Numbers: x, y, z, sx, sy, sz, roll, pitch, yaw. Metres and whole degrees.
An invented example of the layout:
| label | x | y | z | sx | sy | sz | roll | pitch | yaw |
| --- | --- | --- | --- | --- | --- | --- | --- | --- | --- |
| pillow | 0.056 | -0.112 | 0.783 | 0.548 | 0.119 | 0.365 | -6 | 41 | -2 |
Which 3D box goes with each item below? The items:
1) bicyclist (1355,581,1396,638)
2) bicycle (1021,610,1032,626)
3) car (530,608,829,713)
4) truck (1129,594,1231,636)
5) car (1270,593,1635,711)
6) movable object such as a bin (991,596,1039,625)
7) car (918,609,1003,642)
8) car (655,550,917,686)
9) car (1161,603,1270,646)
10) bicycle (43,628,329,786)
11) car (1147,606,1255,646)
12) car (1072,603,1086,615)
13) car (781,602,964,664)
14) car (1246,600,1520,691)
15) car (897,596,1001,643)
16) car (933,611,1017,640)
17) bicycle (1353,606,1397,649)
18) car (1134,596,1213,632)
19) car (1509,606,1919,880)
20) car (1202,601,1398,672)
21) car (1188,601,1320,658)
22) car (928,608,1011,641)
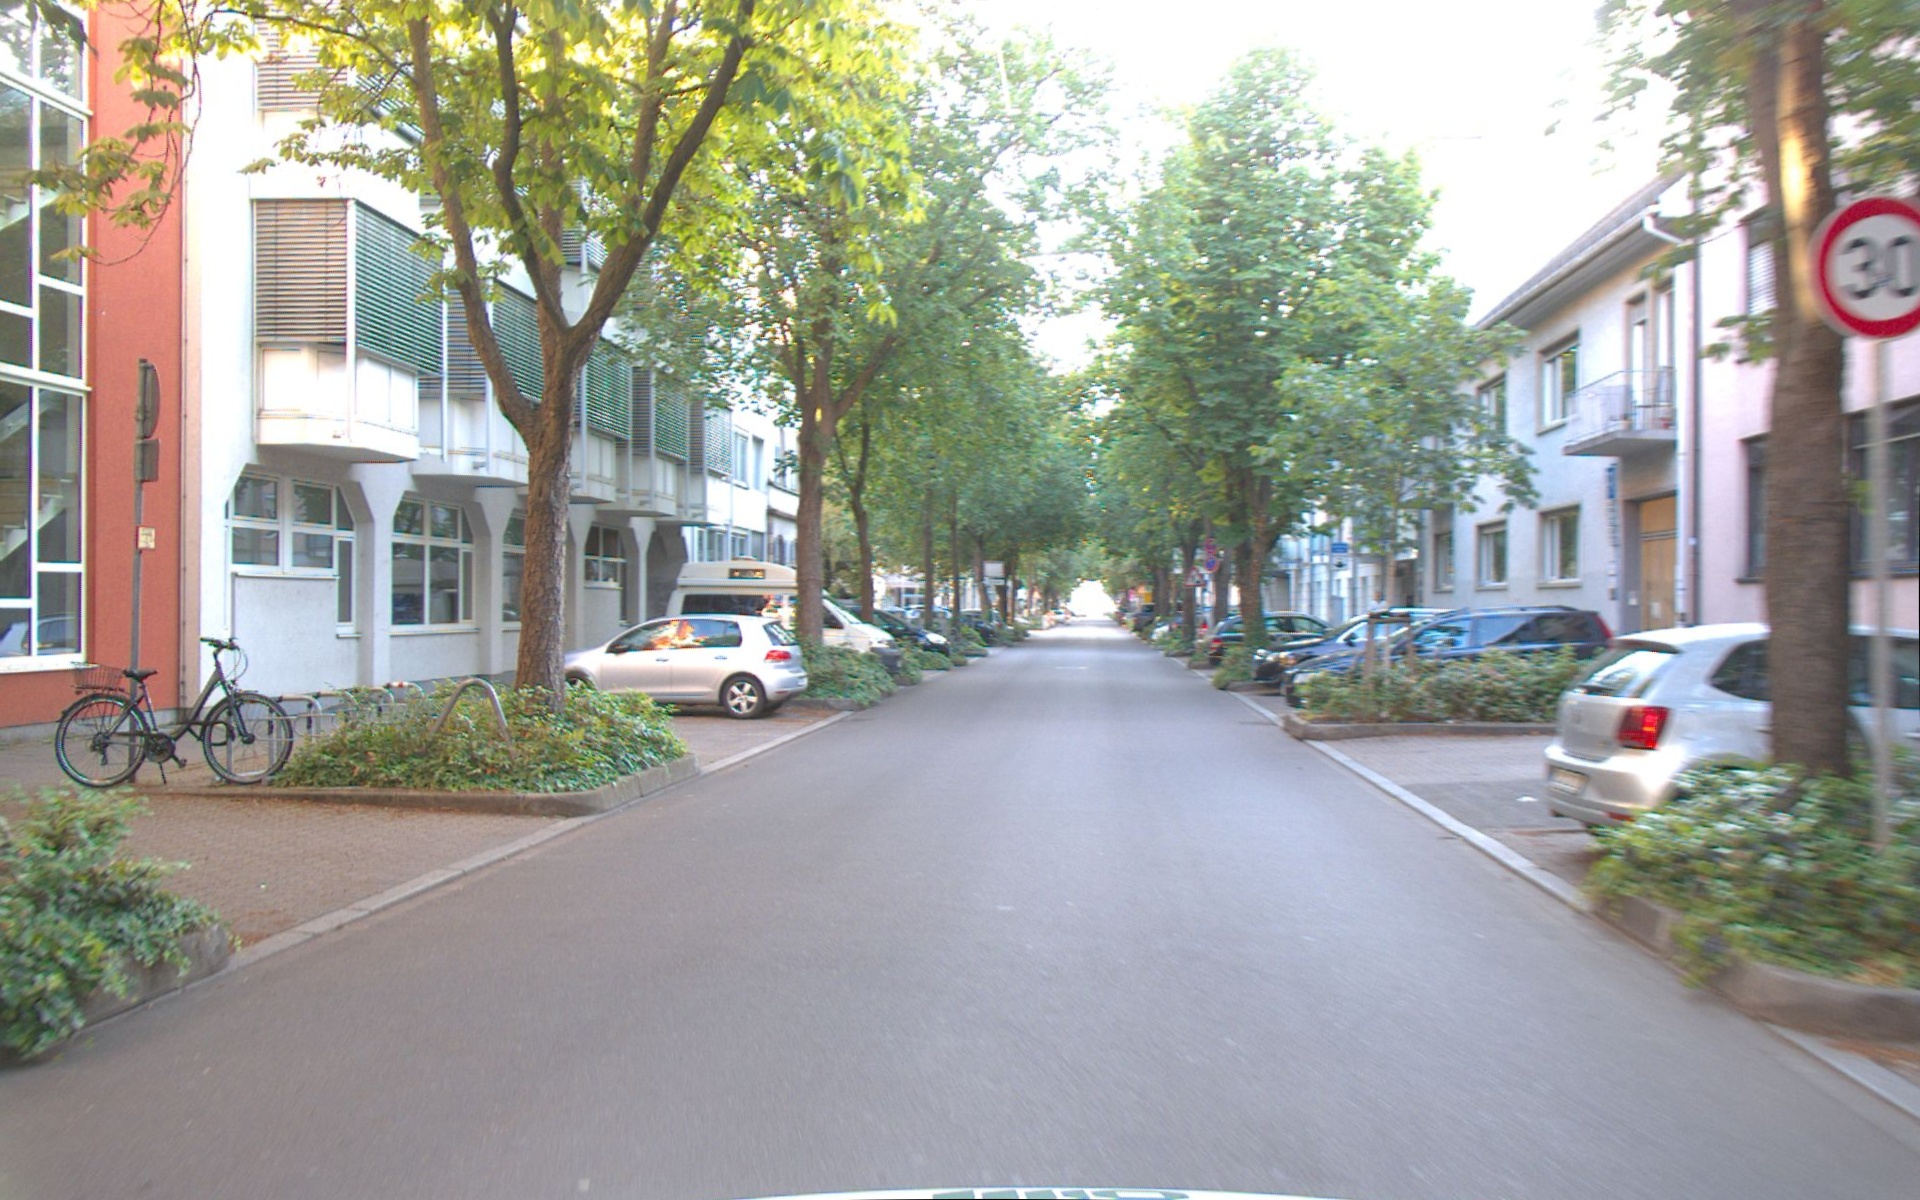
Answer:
| label | x | y | z | sx | sy | sz | roll | pitch | yaw |
| --- | --- | --- | --- | --- | --- | --- | --- | --- | --- |
| bicyclist | 11.917 | 0.270 | 47.464 | 0.950 | 1.632 | 1.137 | 0 | 0 | 5 |
| bicycle | 4.993 | 1.368 | 124.368 | 0.669 | 1.173 | 1.981 | 0 | 0 | -1 |
| car | -4.172 | 0.877 | 25.011 | 4.080 | 1.494 | 1.954 | 0 | 0 | 5 |
| truck | 12.643 | 0.862 | 95.516 | 5.763 | 2.351 | 2.214 | 0 | -1 | 5 |
| car | 6.967 | 0.732 | 23.896 | 4.737 | 1.473 | 2.043 | -2 | -1 | 7 |
| movable object such as a bin | 4.602 | 0.866 | 138.992 | 3.964 | 2.425 | 2.784 | 0 | 0 | -1 |
| car | 0.043 | 1.178 | 77.709 | 3.903 | 1.490 | 1.923 | 0 | 0 | 3 |
| car | -3.421 | 0.348 | 33.223 | 4.898 | 2.618 | 2.122 | 0 | 0 | 4 |
| car | 10.221 | 0.971 | 66.360 | 4.000 | 1.476 | 1.934 | -3 | -1 | -1 |
| bicycle | -6.049 | 0.824 | 12.992 | 1.919 | 1.197 | 0.656 | 0 | -1 | -2 |
| car | 10.519 | 1.125 | 72.380 | 4.503 | 1.494 | 1.797 | -3 | -1 | 4 |
| car | 18.398 | 1.399 | 255.762 | 1.968 | 1.641 | 4.121 | 1 | 1 | 3 |
| car | -2.375 | 0.891 | 45.597 | 4.750 | 1.650 | 2.161 | 0 | 0 | 5 |
| car | 7.655 | 0.814 | 30.331 | 4.579 | 1.412 | 2.002 | -3 | -1 | 6 |
| car | -0.464 | 0.858 | 72.512 | 4.410 | 1.990 | 2.001 | 0 | -1 | 3 |
| car | 0.793 | 1.301 | 85.352 | 4.197 | 1.455 | 1.880 | 0 | 0 | 4 |
| bicycle | 11.799 | 0.777 | 47.121 | 0.607 | 1.184 | 3.403 | 0 | 0 | 4 |
| car | 12.653 | 0.844 | 98.268 | 4.503 | 2.102 | 2.198 | 0 | 0 | 3 |
| car | 5.642 | 0.806 | 10.122 | 3.997 | 1.516 | 1.798 | 0 | 0 | 1 |
| car | 7.986 | 0.864 | 39.186 | 4.364 | 1.452 | 2.013 | -3 | -1 | 9 |
| car | 9.252 | 0.925 | 52.334 | 3.886 | 1.613 | 1.917 | -3 | -1 | 4 |
| car | 0.496 | 1.219 | 82.739 | 3.902 | 1.593 | 1.931 | 0 | 0 | 10 |
